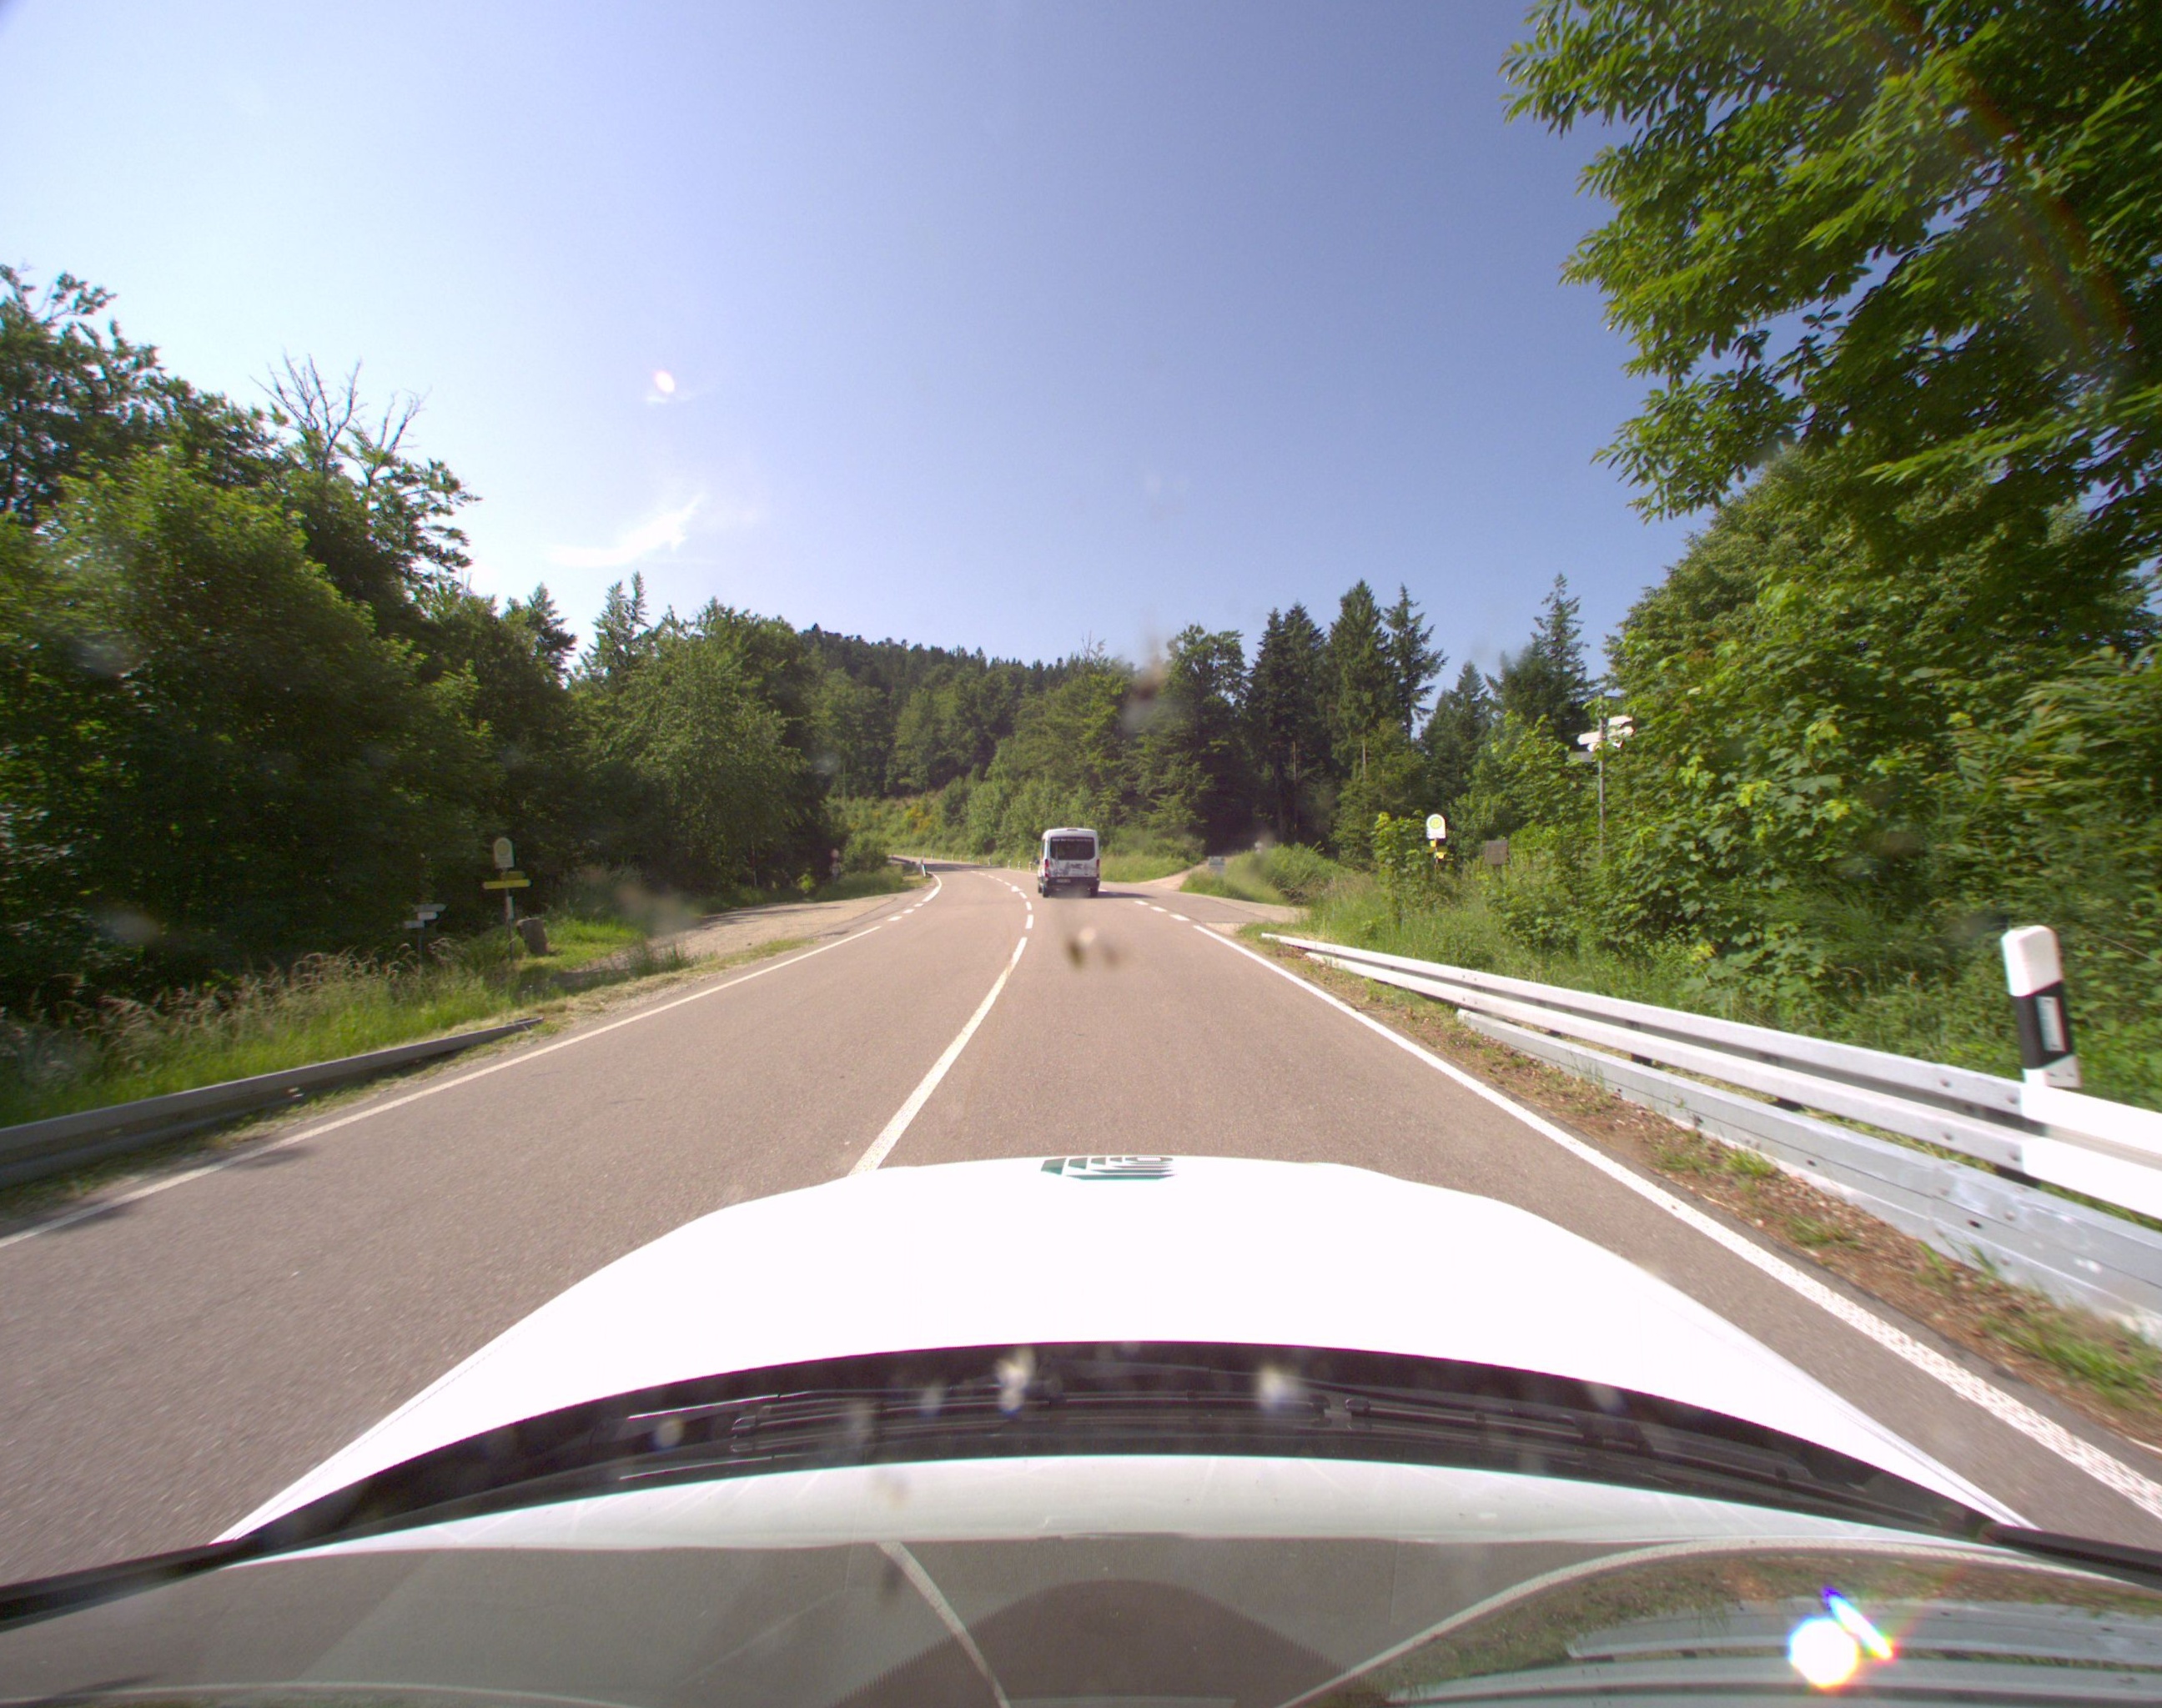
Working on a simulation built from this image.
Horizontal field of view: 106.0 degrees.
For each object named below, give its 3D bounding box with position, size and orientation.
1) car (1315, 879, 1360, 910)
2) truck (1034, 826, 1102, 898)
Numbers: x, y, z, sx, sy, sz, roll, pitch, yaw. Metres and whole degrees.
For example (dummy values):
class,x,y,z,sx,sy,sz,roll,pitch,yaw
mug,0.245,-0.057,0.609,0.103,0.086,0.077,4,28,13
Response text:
class,x,y,z,sx,sy,sz,roll,pitch,yaw
car,16.479,2.547,52.244,1.915,1.593,4.024,6,2,28
truck,-0.602,0.267,31.040,2.113,2.498,5.348,-1,0,-6
